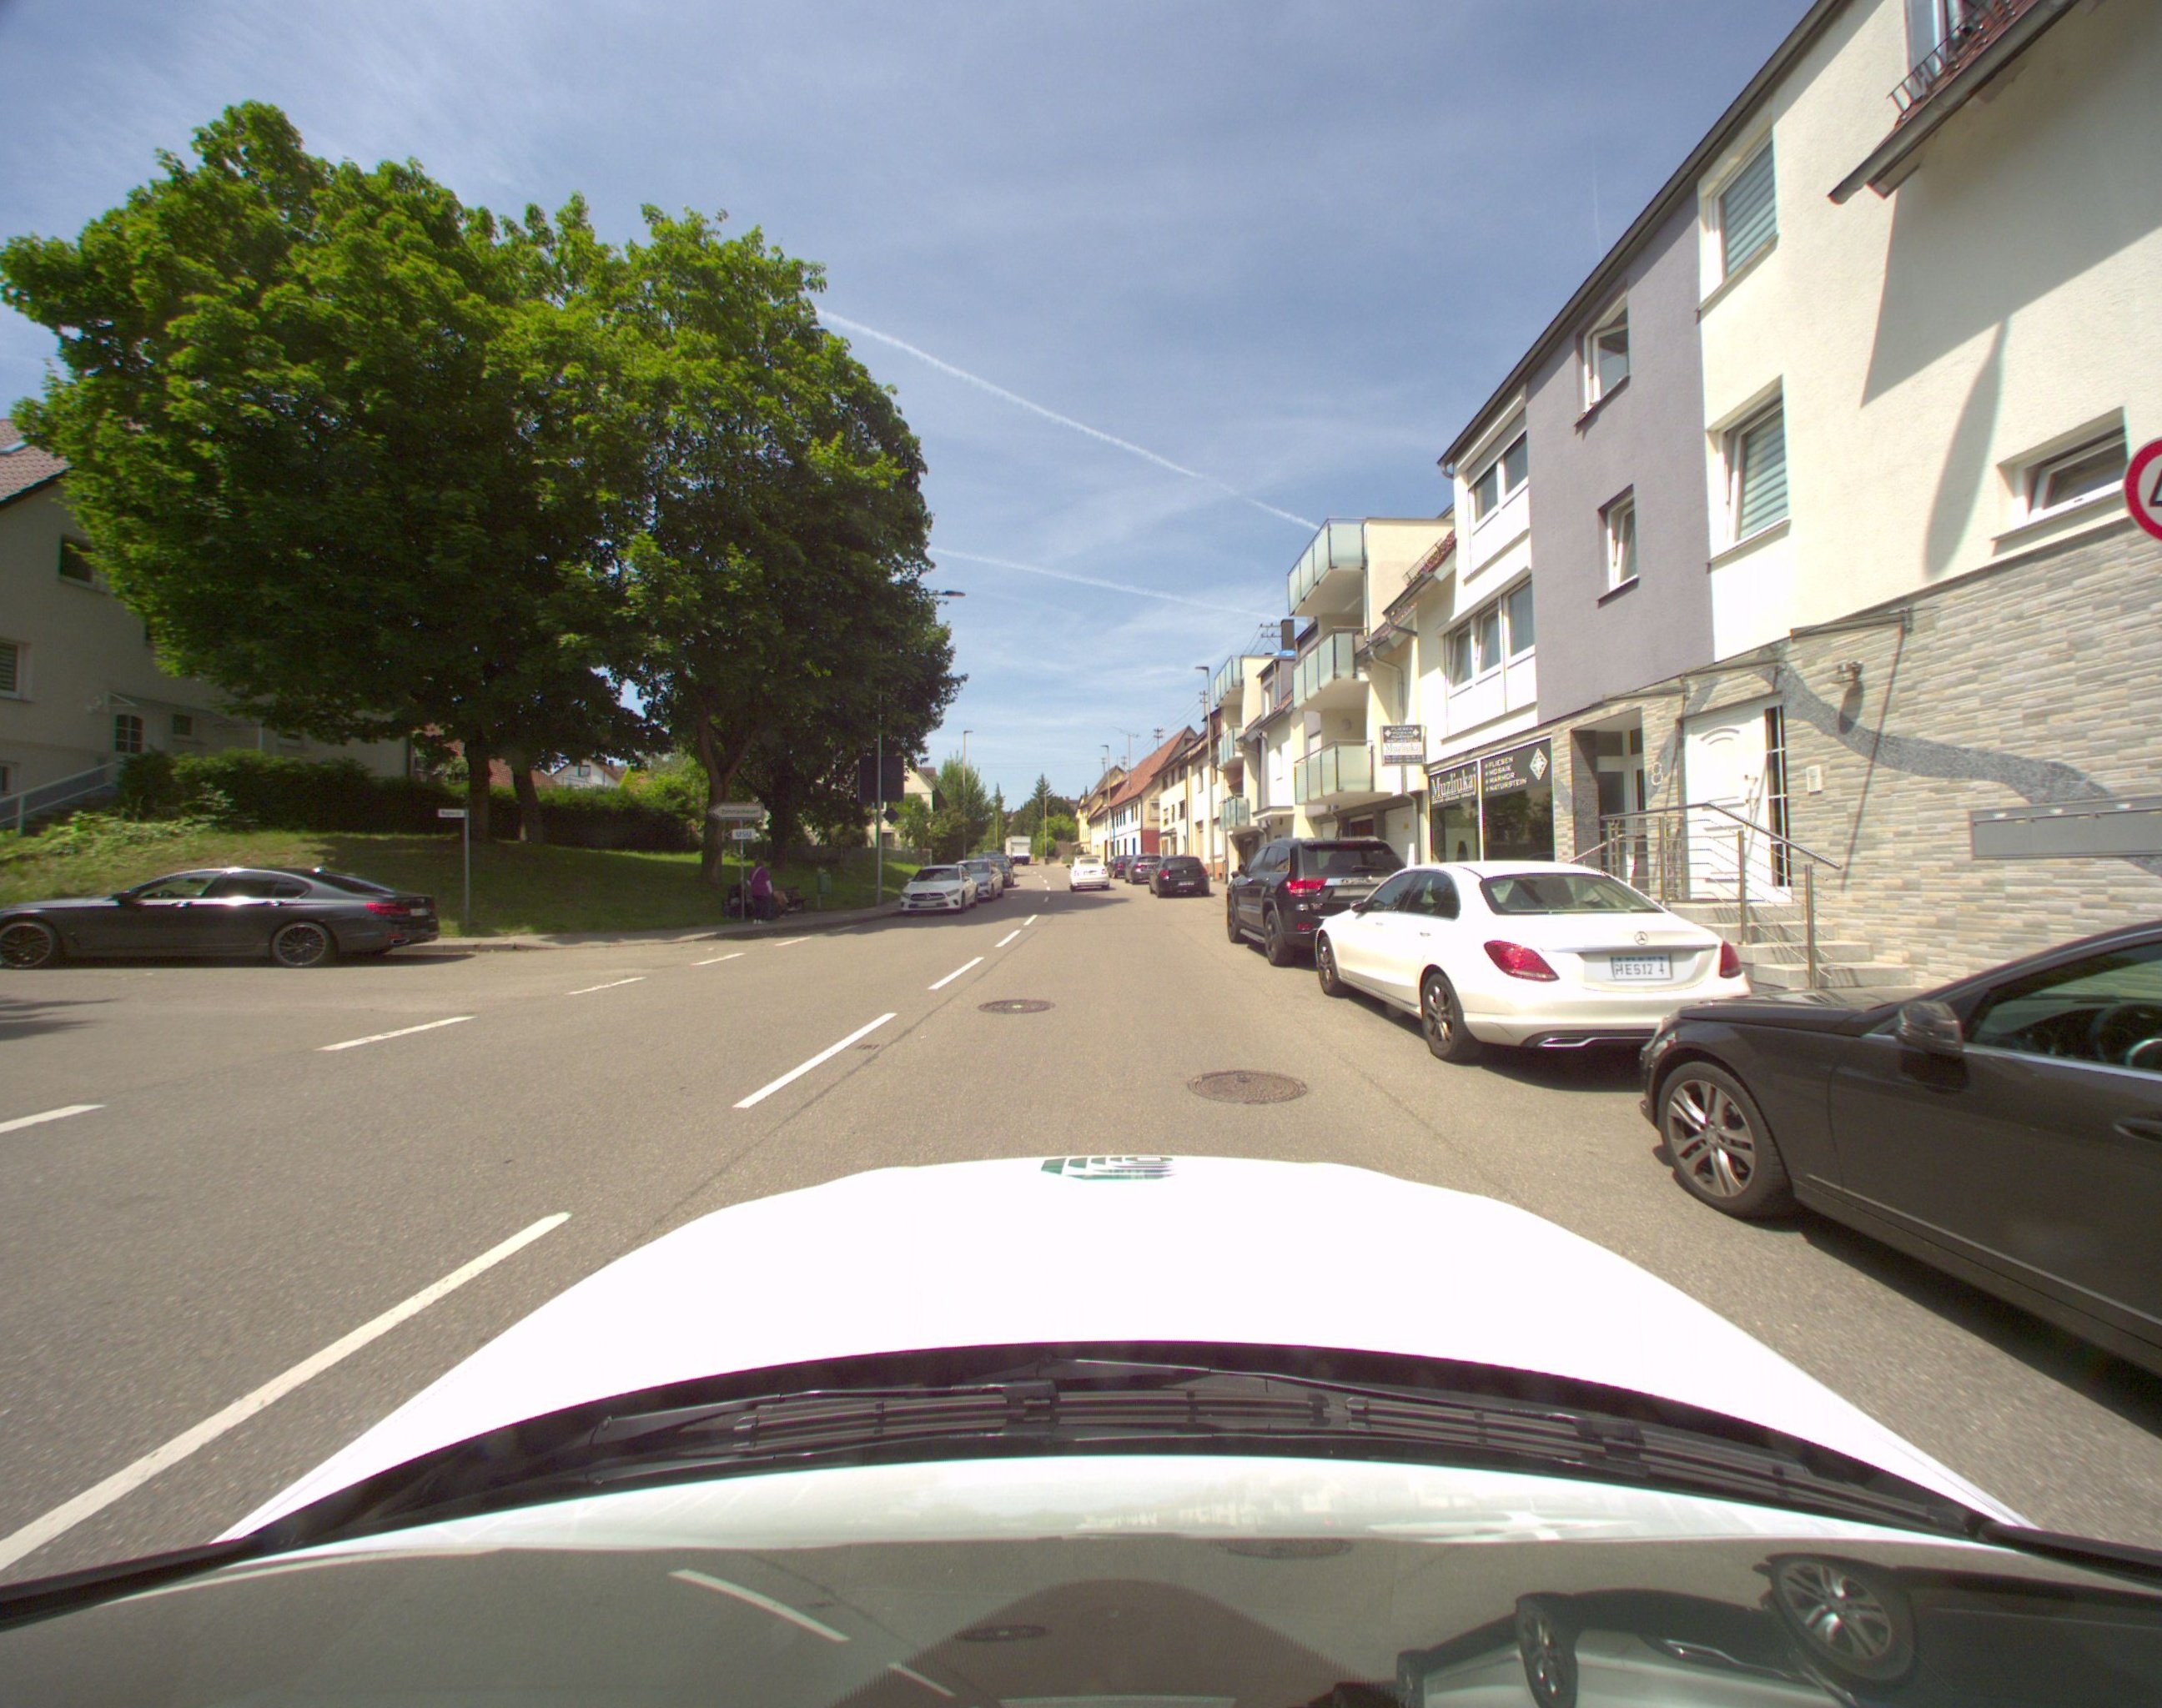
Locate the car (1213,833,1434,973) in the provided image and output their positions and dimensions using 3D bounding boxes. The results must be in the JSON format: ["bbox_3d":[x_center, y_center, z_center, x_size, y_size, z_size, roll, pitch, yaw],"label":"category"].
[{"bbox_3d":[3.466,0.617,12.696,1.948,1.716,4.715,-2,0,-1],"label":"car"}]

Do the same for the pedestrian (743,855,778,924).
[{"bbox_3d":[-7.673,0.844,19.536,0.732,1.616,0.625,0,-1,-19],"label":"pedestrian"}]

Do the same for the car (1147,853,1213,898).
[{"bbox_3d":[3.426,0.732,28.913,1.791,1.424,4.289,-2,0,0],"label":"car"}]

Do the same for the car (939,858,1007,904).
[{"bbox_3d":[-4.005,0.969,30.858,1.765,1.527,4.224,-3,0,2],"label":"car"}]

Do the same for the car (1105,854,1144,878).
[{"bbox_3d":[2.562,0.703,48.429,1.664,1.352,4.178,-1,0,-6],"label":"car"}]

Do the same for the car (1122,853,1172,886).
[{"bbox_3d":[3.153,0.717,39.800,1.790,1.403,4.406,-3,0,-4],"label":"car"}]

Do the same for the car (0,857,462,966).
[{"bbox_3d":[-12.967,0.890,12.698,4.787,1.479,1.988,3,-2,-18],"label":"car"}]

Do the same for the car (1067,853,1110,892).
[{"bbox_3d":[0.355,0.756,35.462,1.719,1.560,4.001,-2,0,1],"label":"car"}]

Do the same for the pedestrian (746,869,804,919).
[{"bbox_3d":[-7.989,1.032,21.298,1.230,1.269,0.647,0,-1,5],"label":"pedestrian"}]

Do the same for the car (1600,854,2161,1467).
[{"bbox_3d":[3.461,0.735,1.938,1.782,1.420,4.360,-1,0,2],"label":"car"}]

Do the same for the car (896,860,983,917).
[{"bbox_3d":[-4.215,0.987,24.883,1.749,1.467,4.363,-3,0,1],"label":"car"}]

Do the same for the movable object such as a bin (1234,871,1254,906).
[{"bbox_3d":[4.524,0.956,22.617,0.430,0.925,0.491,-3,0,-1],"label":"movable object such as a bin"}]

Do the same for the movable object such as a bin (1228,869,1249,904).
[{"bbox_3d":[4.495,0.933,23.280,0.430,0.956,0.517,-4,0,-1],"label":"movable object such as a bin"}]

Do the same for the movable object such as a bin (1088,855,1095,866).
[{"bbox_3d":[1.046,0.649,80.303,0.546,1.033,0.550,-4,1,-8],"label":"movable object such as a bin"}]

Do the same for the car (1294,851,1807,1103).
[{"bbox_3d":[3.428,0.733,7.222,1.783,1.455,4.715,-1,0,-1],"label":"car"}]

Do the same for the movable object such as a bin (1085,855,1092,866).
[{"bbox_3d":[0.716,0.648,81.974,0.546,1.033,0.550,-4,1,-8],"label":"movable object such as a bin"}]

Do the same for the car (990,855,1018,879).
[{"bbox_3d":[-5.325,0.863,56.110,1.787,1.463,4.701,-2,0,-6],"label":"car"}]

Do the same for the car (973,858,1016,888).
[{"bbox_3d":[-4.455,0.957,42.587,1.800,1.423,4.924,-2,0,-2],"label":"car"}]

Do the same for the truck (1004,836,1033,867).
[{"bbox_3d":[-8.136,-0.269,105.682,3.067,3.774,7.843,-2,-1,-9],"label":"truck"}]
